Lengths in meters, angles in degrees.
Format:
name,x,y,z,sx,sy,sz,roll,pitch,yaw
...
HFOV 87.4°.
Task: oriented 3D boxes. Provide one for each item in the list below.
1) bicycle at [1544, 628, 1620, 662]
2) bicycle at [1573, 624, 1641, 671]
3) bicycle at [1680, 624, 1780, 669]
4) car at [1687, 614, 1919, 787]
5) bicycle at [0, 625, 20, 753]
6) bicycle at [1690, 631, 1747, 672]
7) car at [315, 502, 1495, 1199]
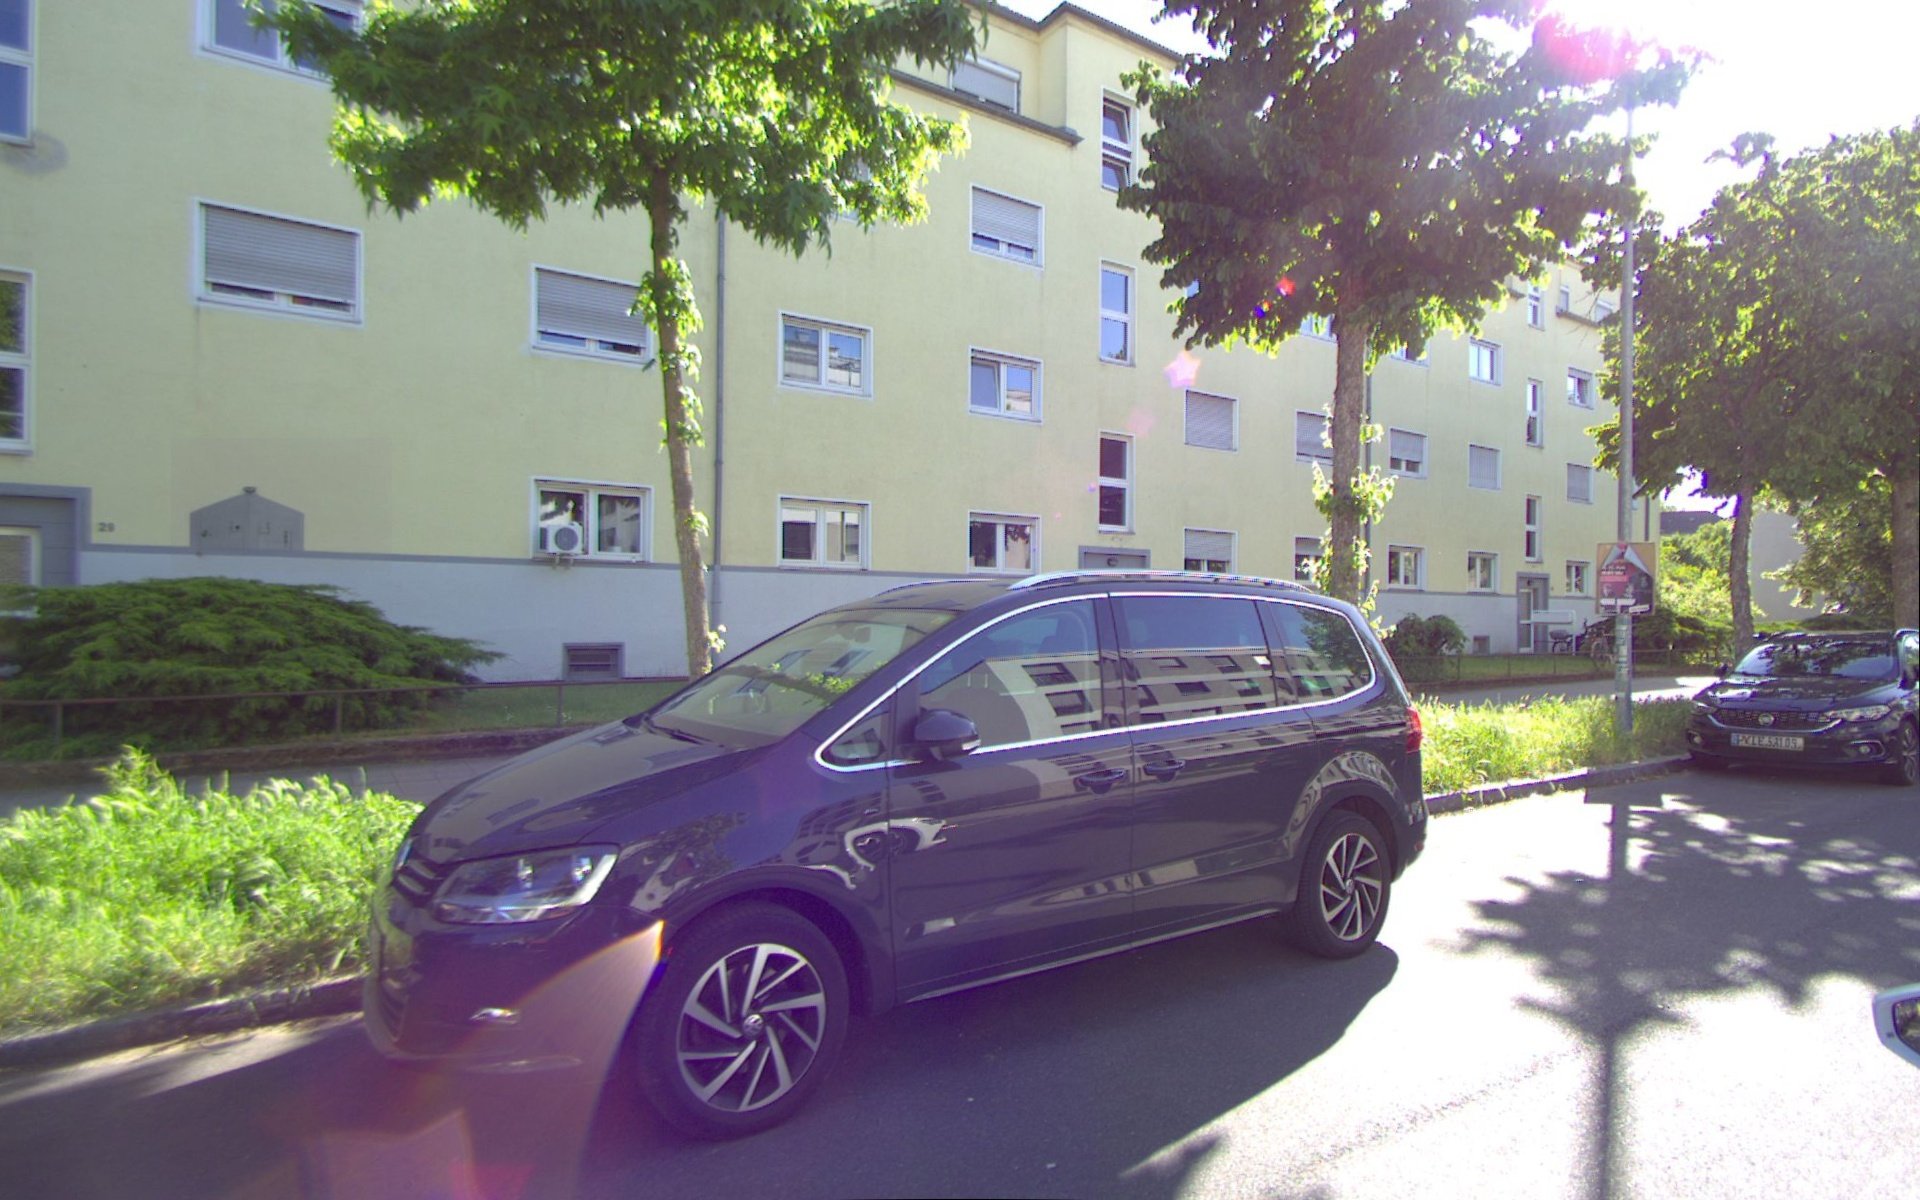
name,x,y,z,sx,sy,sz,roll,pitch,yaw
bicycle,19.136,1.370,30.914,0.592,1.005,1.905,1,-1,-40
bicycle,14.543,1.055,22.566,1.908,1.005,0.591,1,-1,-34
bicycle,21.437,1.272,27.994,0.685,1.225,2.124,1,-1,-44
car,9.882,0.985,11.084,4.729,1.569,1.498,1,-3,-35
bicycle,-8.502,0.775,8.560,0.482,1.095,1.826,1,-1,-36
bicycle,19.484,1.305,25.780,1.908,1.005,0.591,1,-1,-34
car,0.117,0.704,4.404,4.925,1.702,1.838,1,-3,-34
